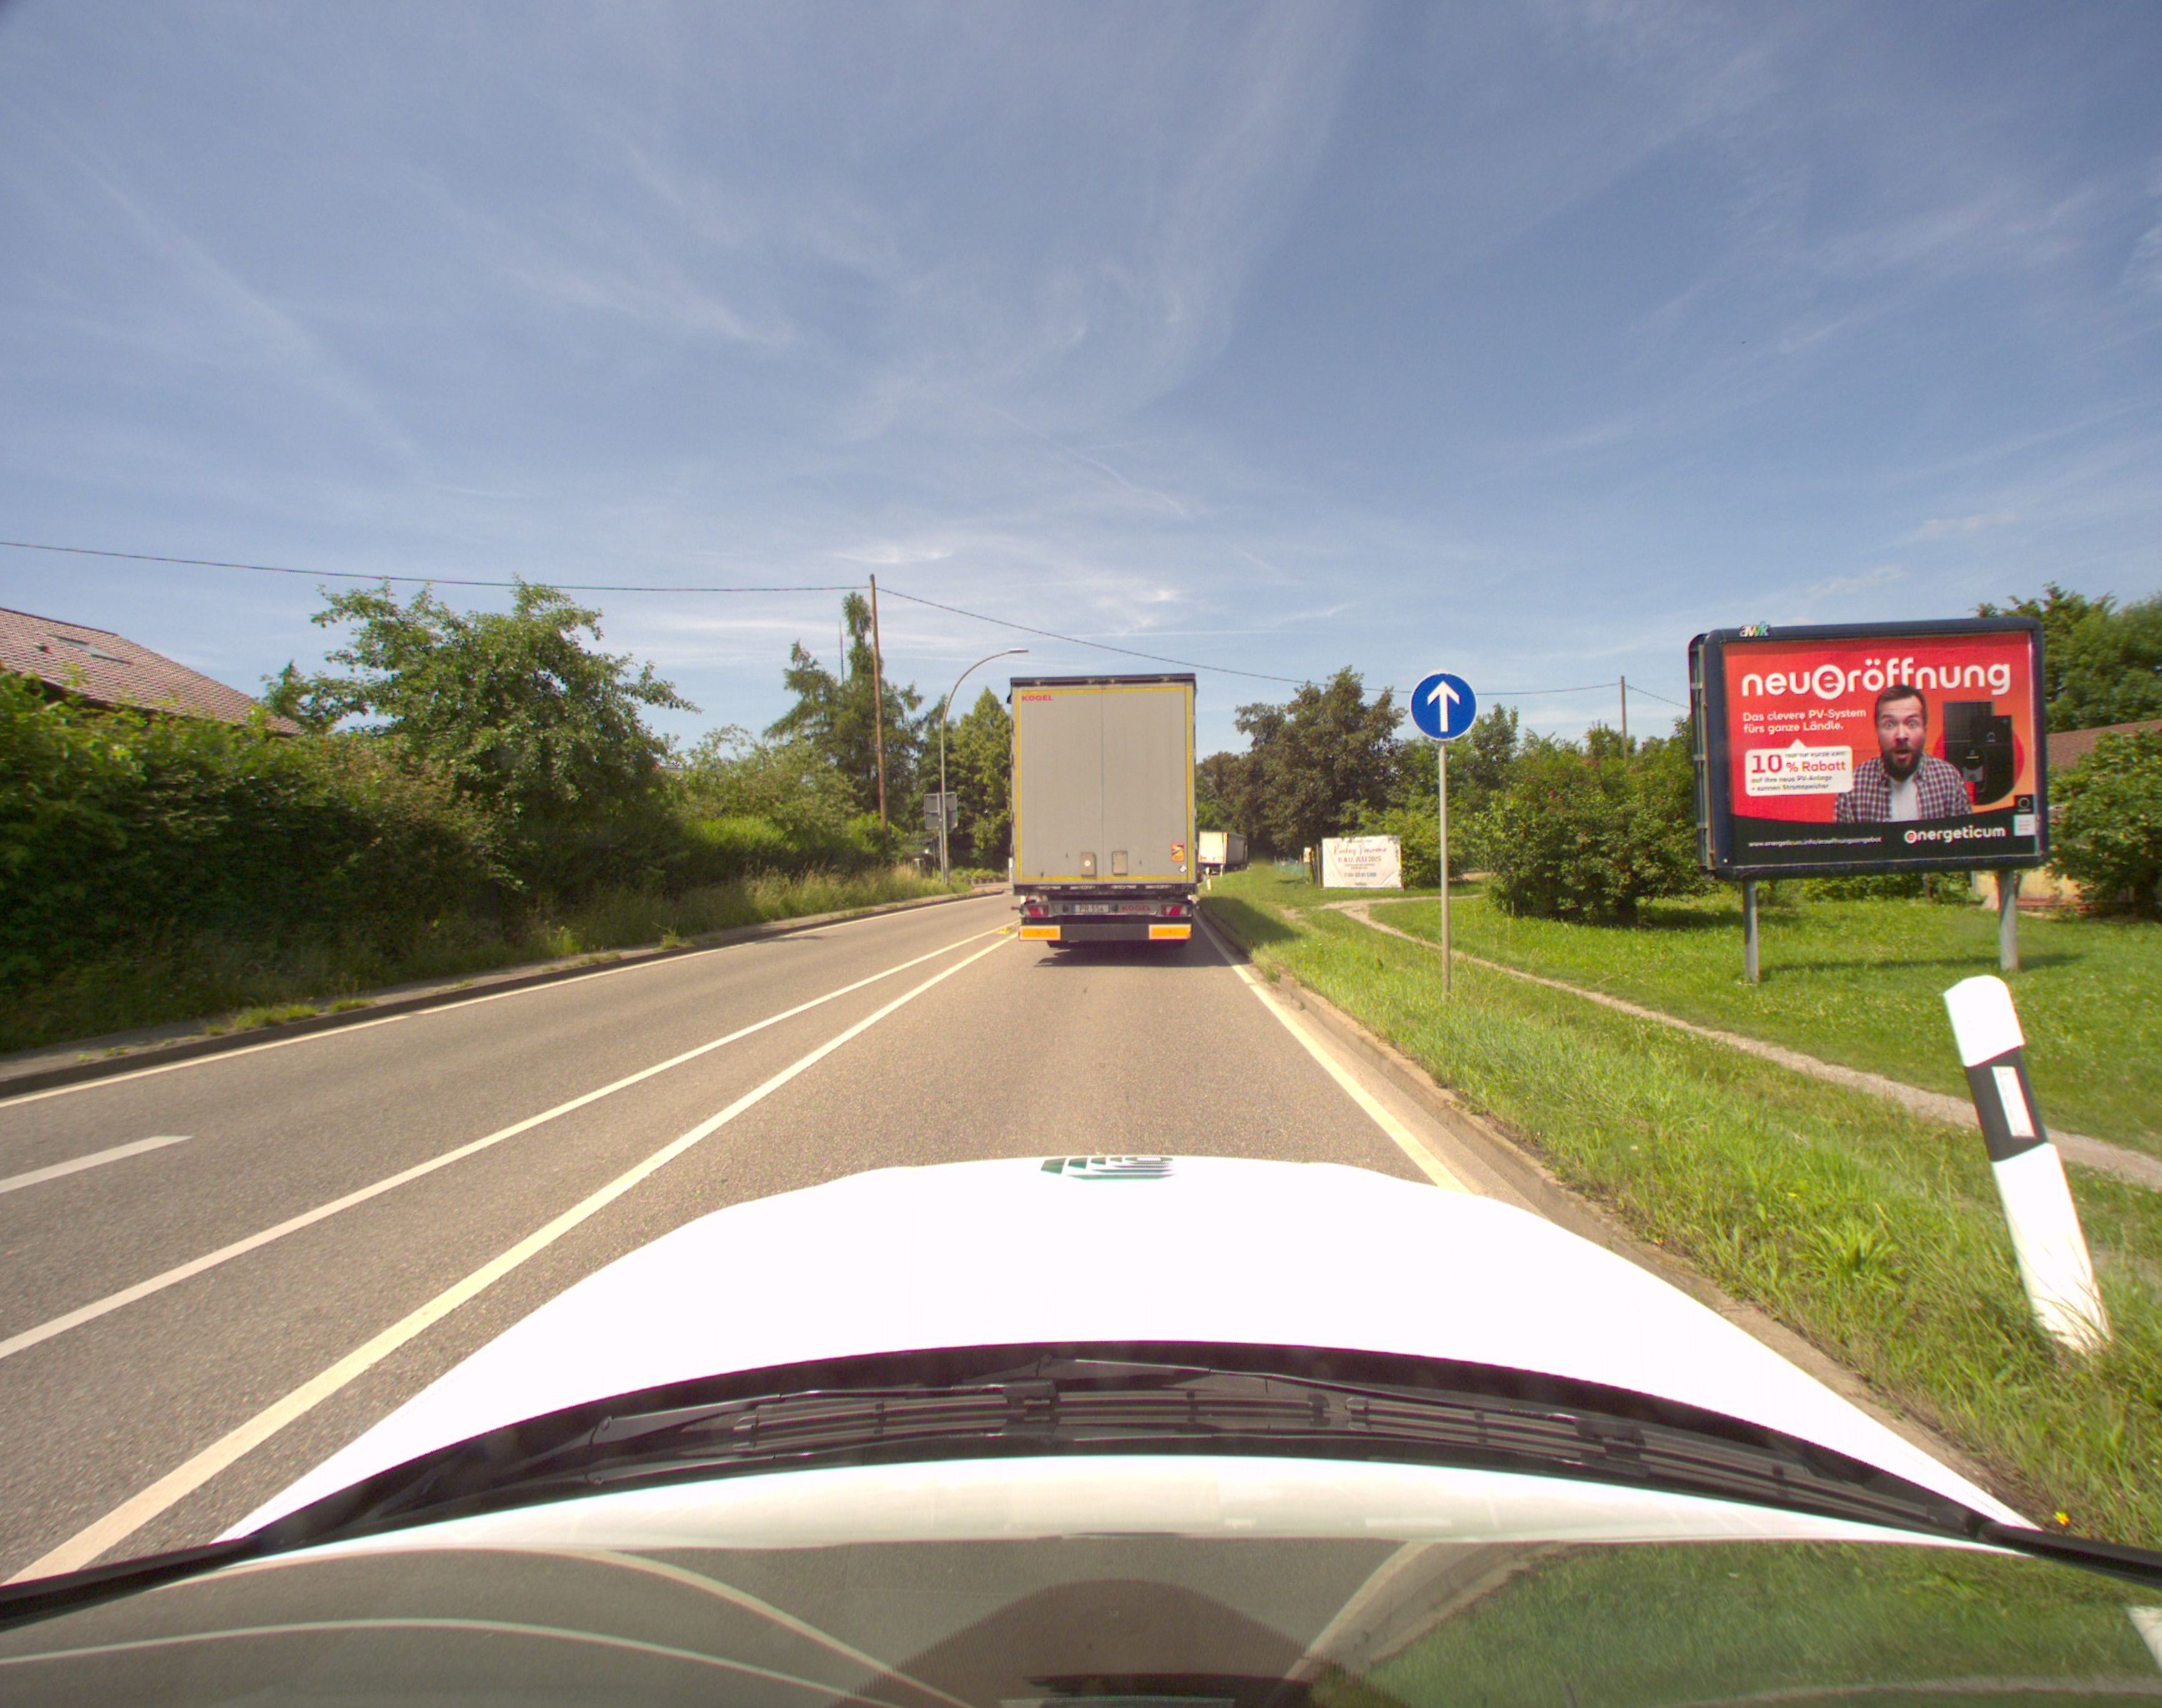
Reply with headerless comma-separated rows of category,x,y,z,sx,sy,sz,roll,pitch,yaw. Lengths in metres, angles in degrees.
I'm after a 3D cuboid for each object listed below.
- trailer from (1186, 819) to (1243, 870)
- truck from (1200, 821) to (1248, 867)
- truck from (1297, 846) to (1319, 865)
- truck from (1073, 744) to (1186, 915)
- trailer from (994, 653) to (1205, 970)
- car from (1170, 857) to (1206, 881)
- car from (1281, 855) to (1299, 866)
trailer,13.280,-0.893,79.760,3.861,4.521,12.768,-1,0,16
truck,15.272,-1.000,86.408,3.905,4.575,7.185,-1,0,18
truck,35.296,0.201,126.437,2.399,2.838,5.443,-1,0,24
truck,1.525,-0.617,23.183,2.732,4.165,6.154,-1,0,6
trailer,0.858,-0.596,16.998,2.773,4.205,12.131,-1,0,6
car,7.329,1.000,55.465,1.979,1.530,4.015,-1,0,14
car,29.489,0.896,114.888,1.825,1.486,4.022,-1,0,23
